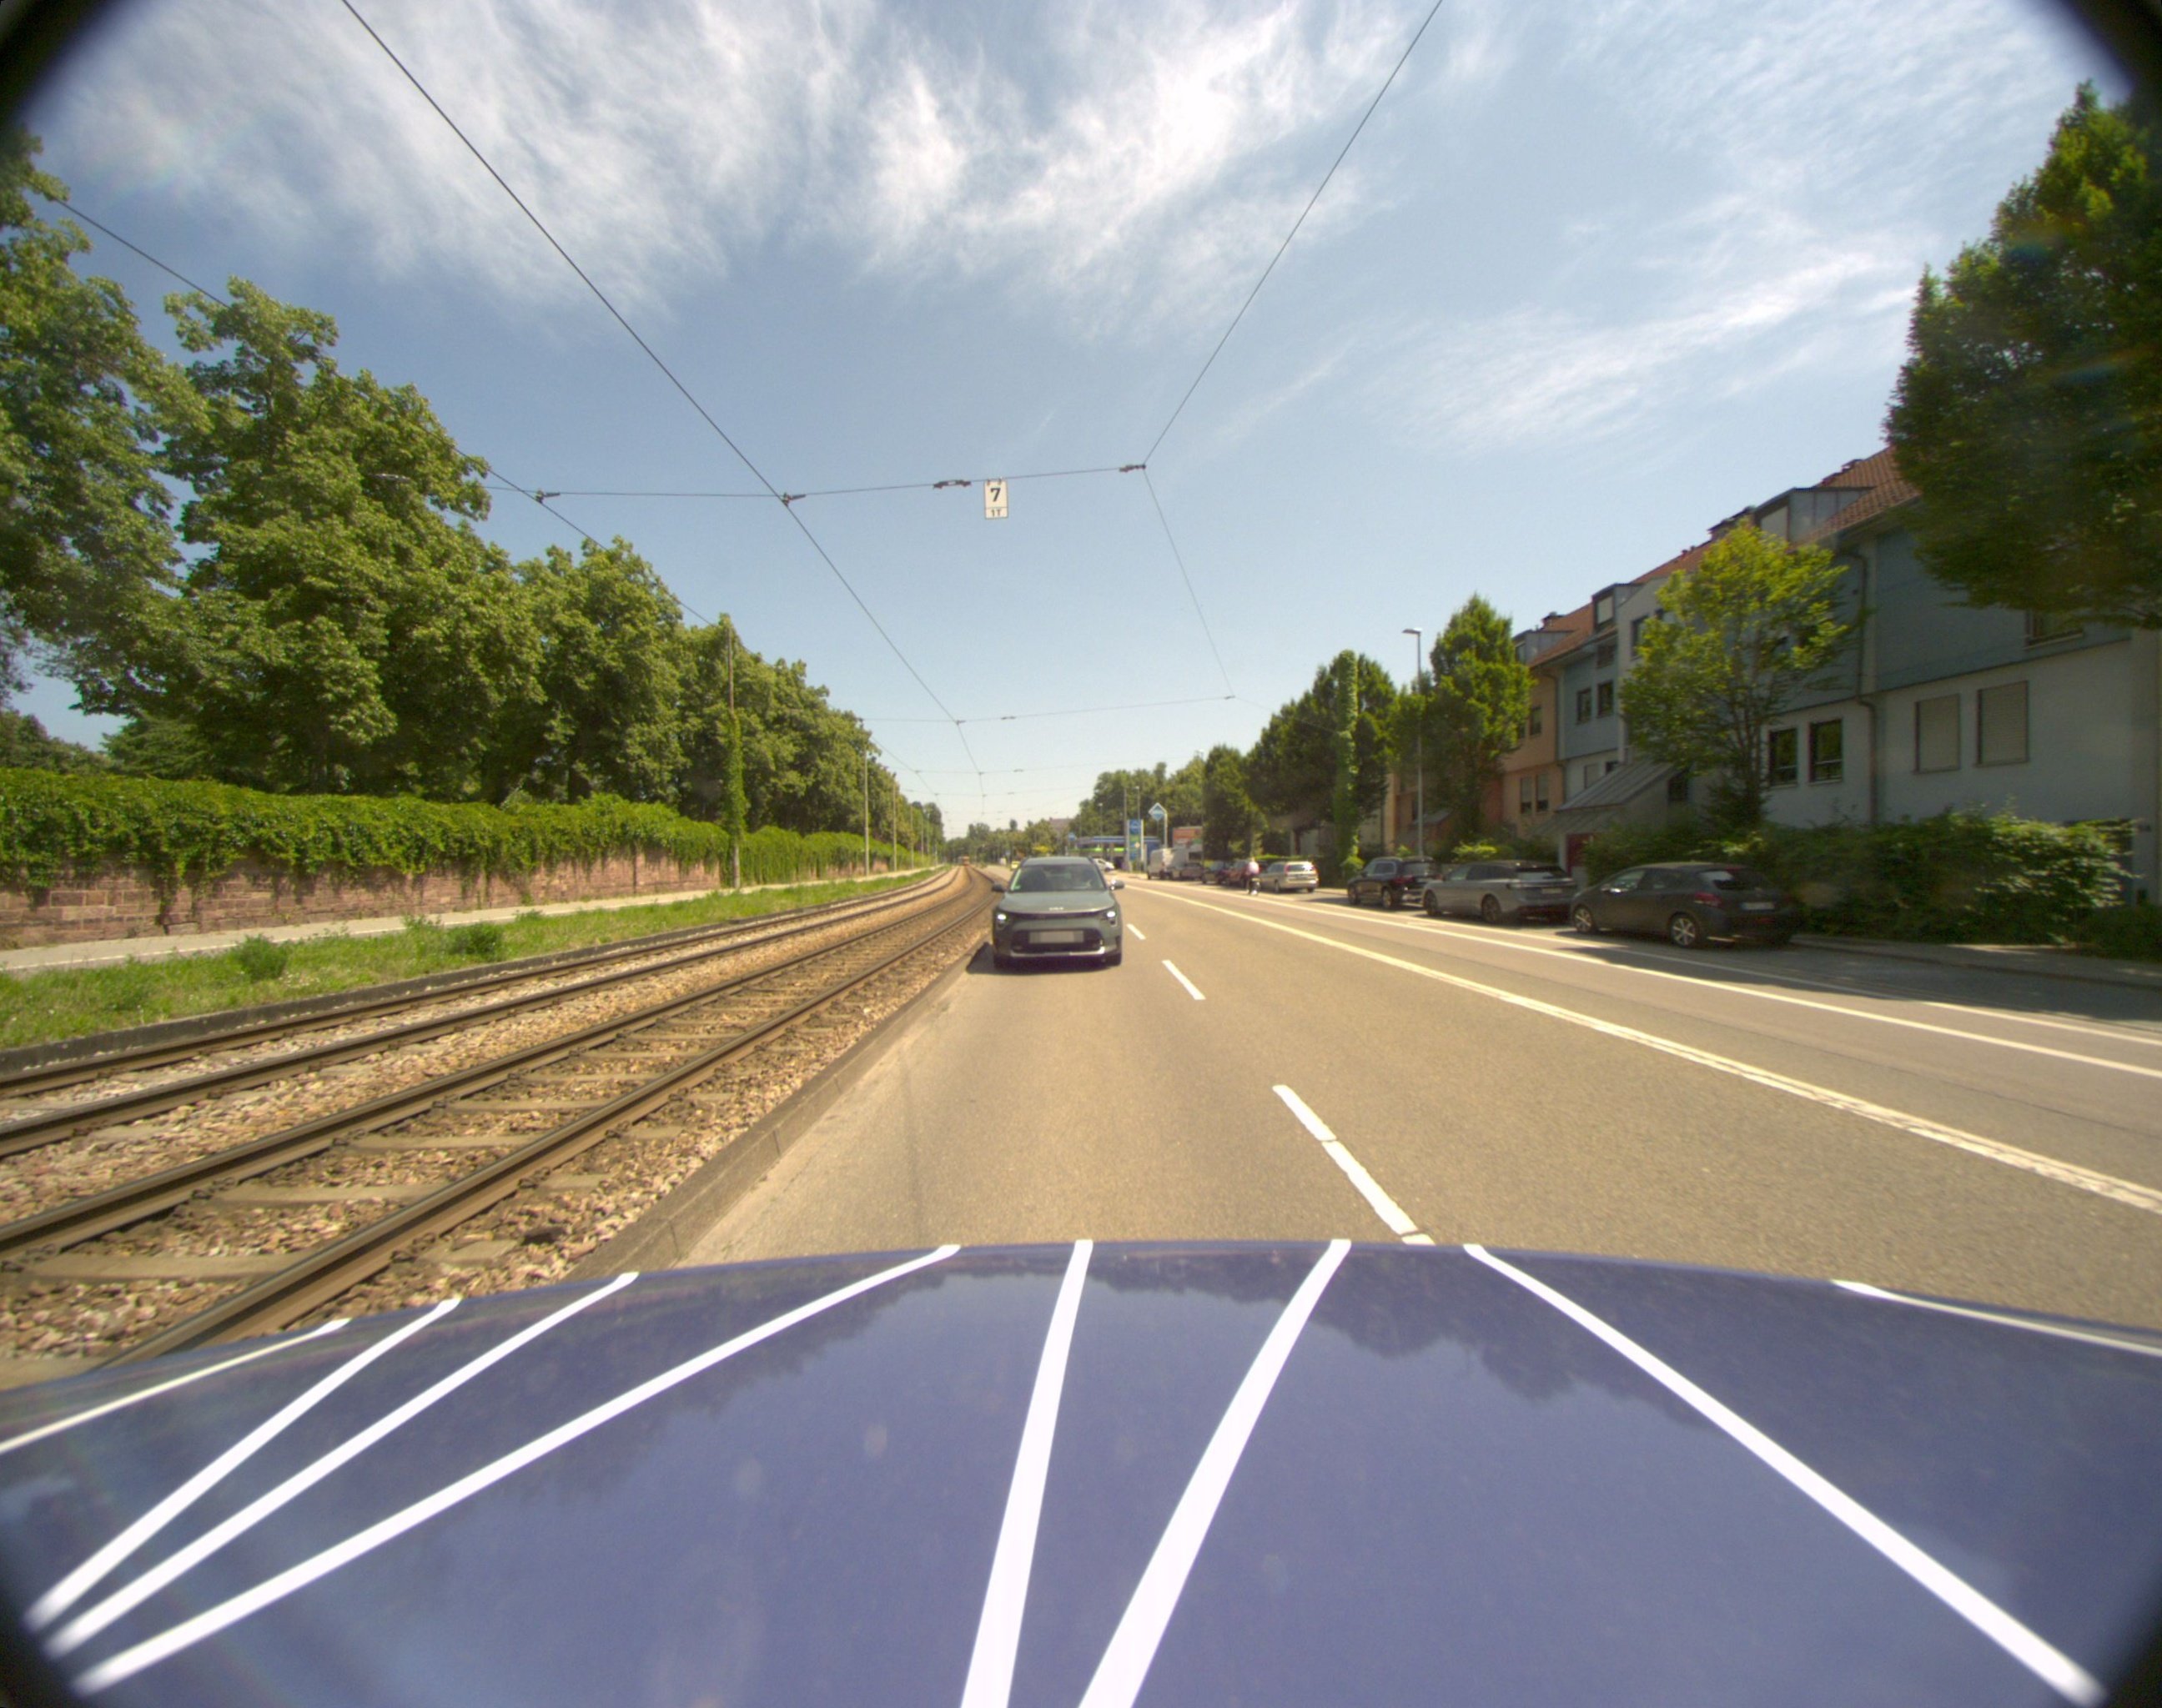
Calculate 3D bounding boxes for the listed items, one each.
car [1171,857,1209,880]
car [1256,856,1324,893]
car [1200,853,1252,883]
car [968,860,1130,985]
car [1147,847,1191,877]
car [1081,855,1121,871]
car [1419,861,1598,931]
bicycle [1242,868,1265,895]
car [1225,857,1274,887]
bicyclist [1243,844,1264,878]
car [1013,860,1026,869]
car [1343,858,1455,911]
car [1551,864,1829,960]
[{"bbox_3d":[8.089,1.076,56.820,1.870,1.528,4.142,-2,0,-4],"label":"car"},{"bbox_3d":[10.004,0.950,36.739,1.845,1.573,4.495,-2,0,-3],"label":"car"},{"bbox_3d":[9.062,0.828,47.839,1.999,1.783,4.556,-1,0,-5],"label":"car"},{"bbox_3d":[-0.314,0.912,11.851,2.062,1.534,4.001,-2,0,3],"label":"car"},{"bbox_3d":[7.203,0.702,62.776,2.285,2.294,5.226,-2,0,-8],"label":"car"},{"bbox_3d":[2.803,1.278,107.454,5.373,2.085,1.999,-2,1,-5],"label":"car"},{"bbox_3d":[10.751,0.969,19.597,1.830,1.487,4.756,-2,0,-1],"label":"car"},{"bbox_3d":[7.672,1.218,33.826,0.641,1.089,1.639,2,1,1],"label":"bicycle"},{"bbox_3d":[9.391,0.990,42.631,1.604,1.584,3.680,-2,0,-6],"label":"car"},{"bbox_3d":[7.683,0.308,33.809,0.737,1.496,0.737,1,1,1],"label":"bicyclist"},{"bbox_3d":[-9.465,1.633,117.379,1.696,1.403,3.513,-2,0,-8],"label":"car"},{"bbox_3d":[10.489,0.952,25.418,1.772,1.579,4.147,-2,0,-3],"label":"car"},{"bbox_3d":[11.084,0.954,14.308,1.754,1.424,4.257,-3,0,0],"label":"car"}]
